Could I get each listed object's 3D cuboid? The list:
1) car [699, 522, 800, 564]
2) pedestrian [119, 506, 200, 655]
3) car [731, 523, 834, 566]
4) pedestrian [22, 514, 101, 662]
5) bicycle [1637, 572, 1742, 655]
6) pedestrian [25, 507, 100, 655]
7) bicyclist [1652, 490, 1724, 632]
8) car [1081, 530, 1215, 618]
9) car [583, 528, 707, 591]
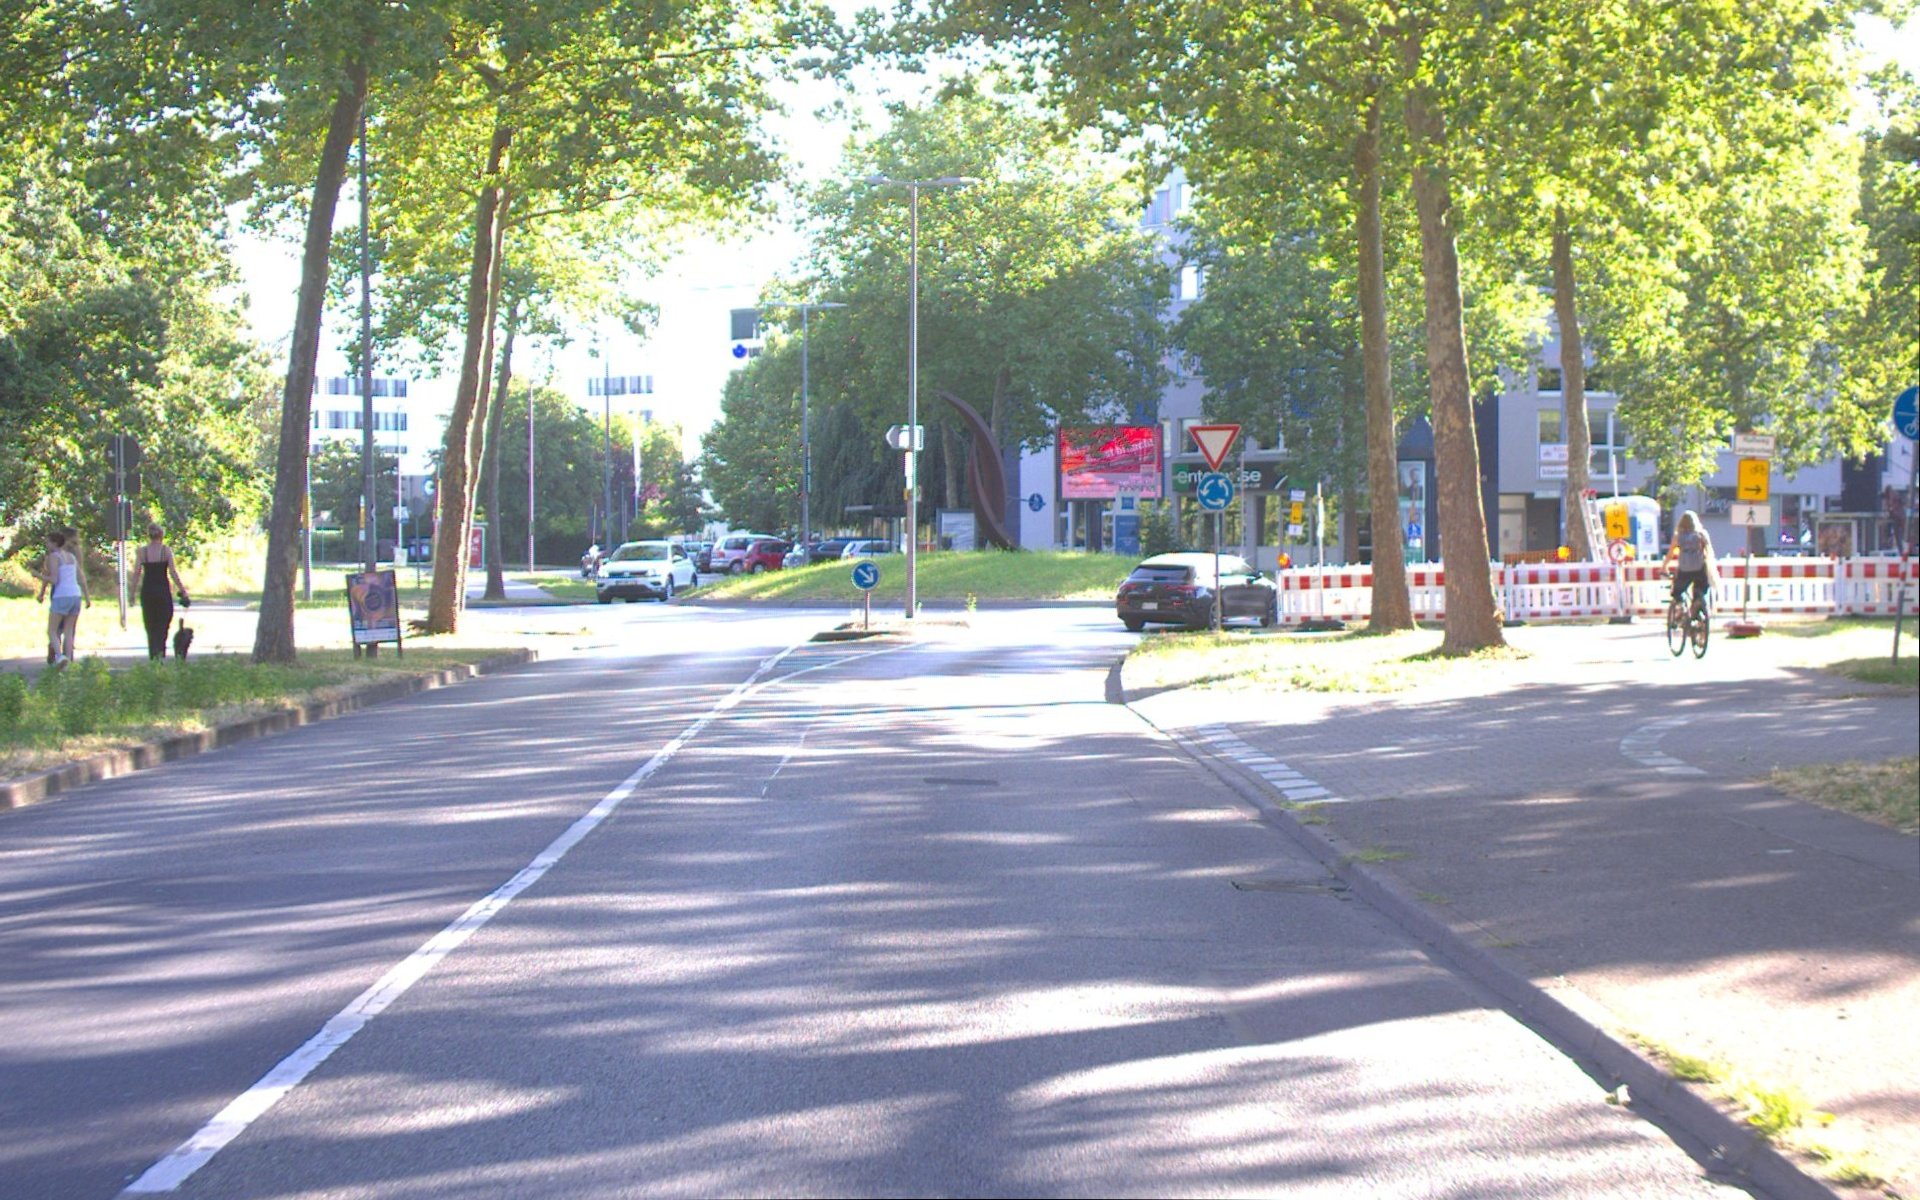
[{"bbox_3d":[-9.157,-2.477,149.856,3.986,1.741,1.795,1,1,-30],"label":"car"},{"bbox_3d":[-9.438,-0.233,40.563,0.748,1.733,0.852,0,1,1],"label":"pedestrian"},{"bbox_3d":[-7.607,-2.380,147.146,3.986,1.741,1.795,1,1,-30],"label":"car"},{"bbox_3d":[-10.032,-0.139,38.395,0.576,1.632,0.633,1,1,39],"label":"pedestrian"},{"bbox_3d":[8.895,0.151,42.014,0.770,0.961,2.174,-2,0,-1],"label":"bicycle"},{"bbox_3d":[-10.576,-0.228,40.524,0.665,1.733,0.751,0,1,1],"label":"pedestrian"},{"bbox_3d":[8.913,-0.482,42.124,0.651,1.699,0.871,1,1,0],"label":"bicyclist"},{"bbox_3d":[3.578,-0.513,64.840,1.840,1.600,3.860,0,1,14],"label":"car"},{"bbox_3d":[-8.041,-1.054,88.040,1.995,1.573,3.998,0,1,13],"label":"car"}]
